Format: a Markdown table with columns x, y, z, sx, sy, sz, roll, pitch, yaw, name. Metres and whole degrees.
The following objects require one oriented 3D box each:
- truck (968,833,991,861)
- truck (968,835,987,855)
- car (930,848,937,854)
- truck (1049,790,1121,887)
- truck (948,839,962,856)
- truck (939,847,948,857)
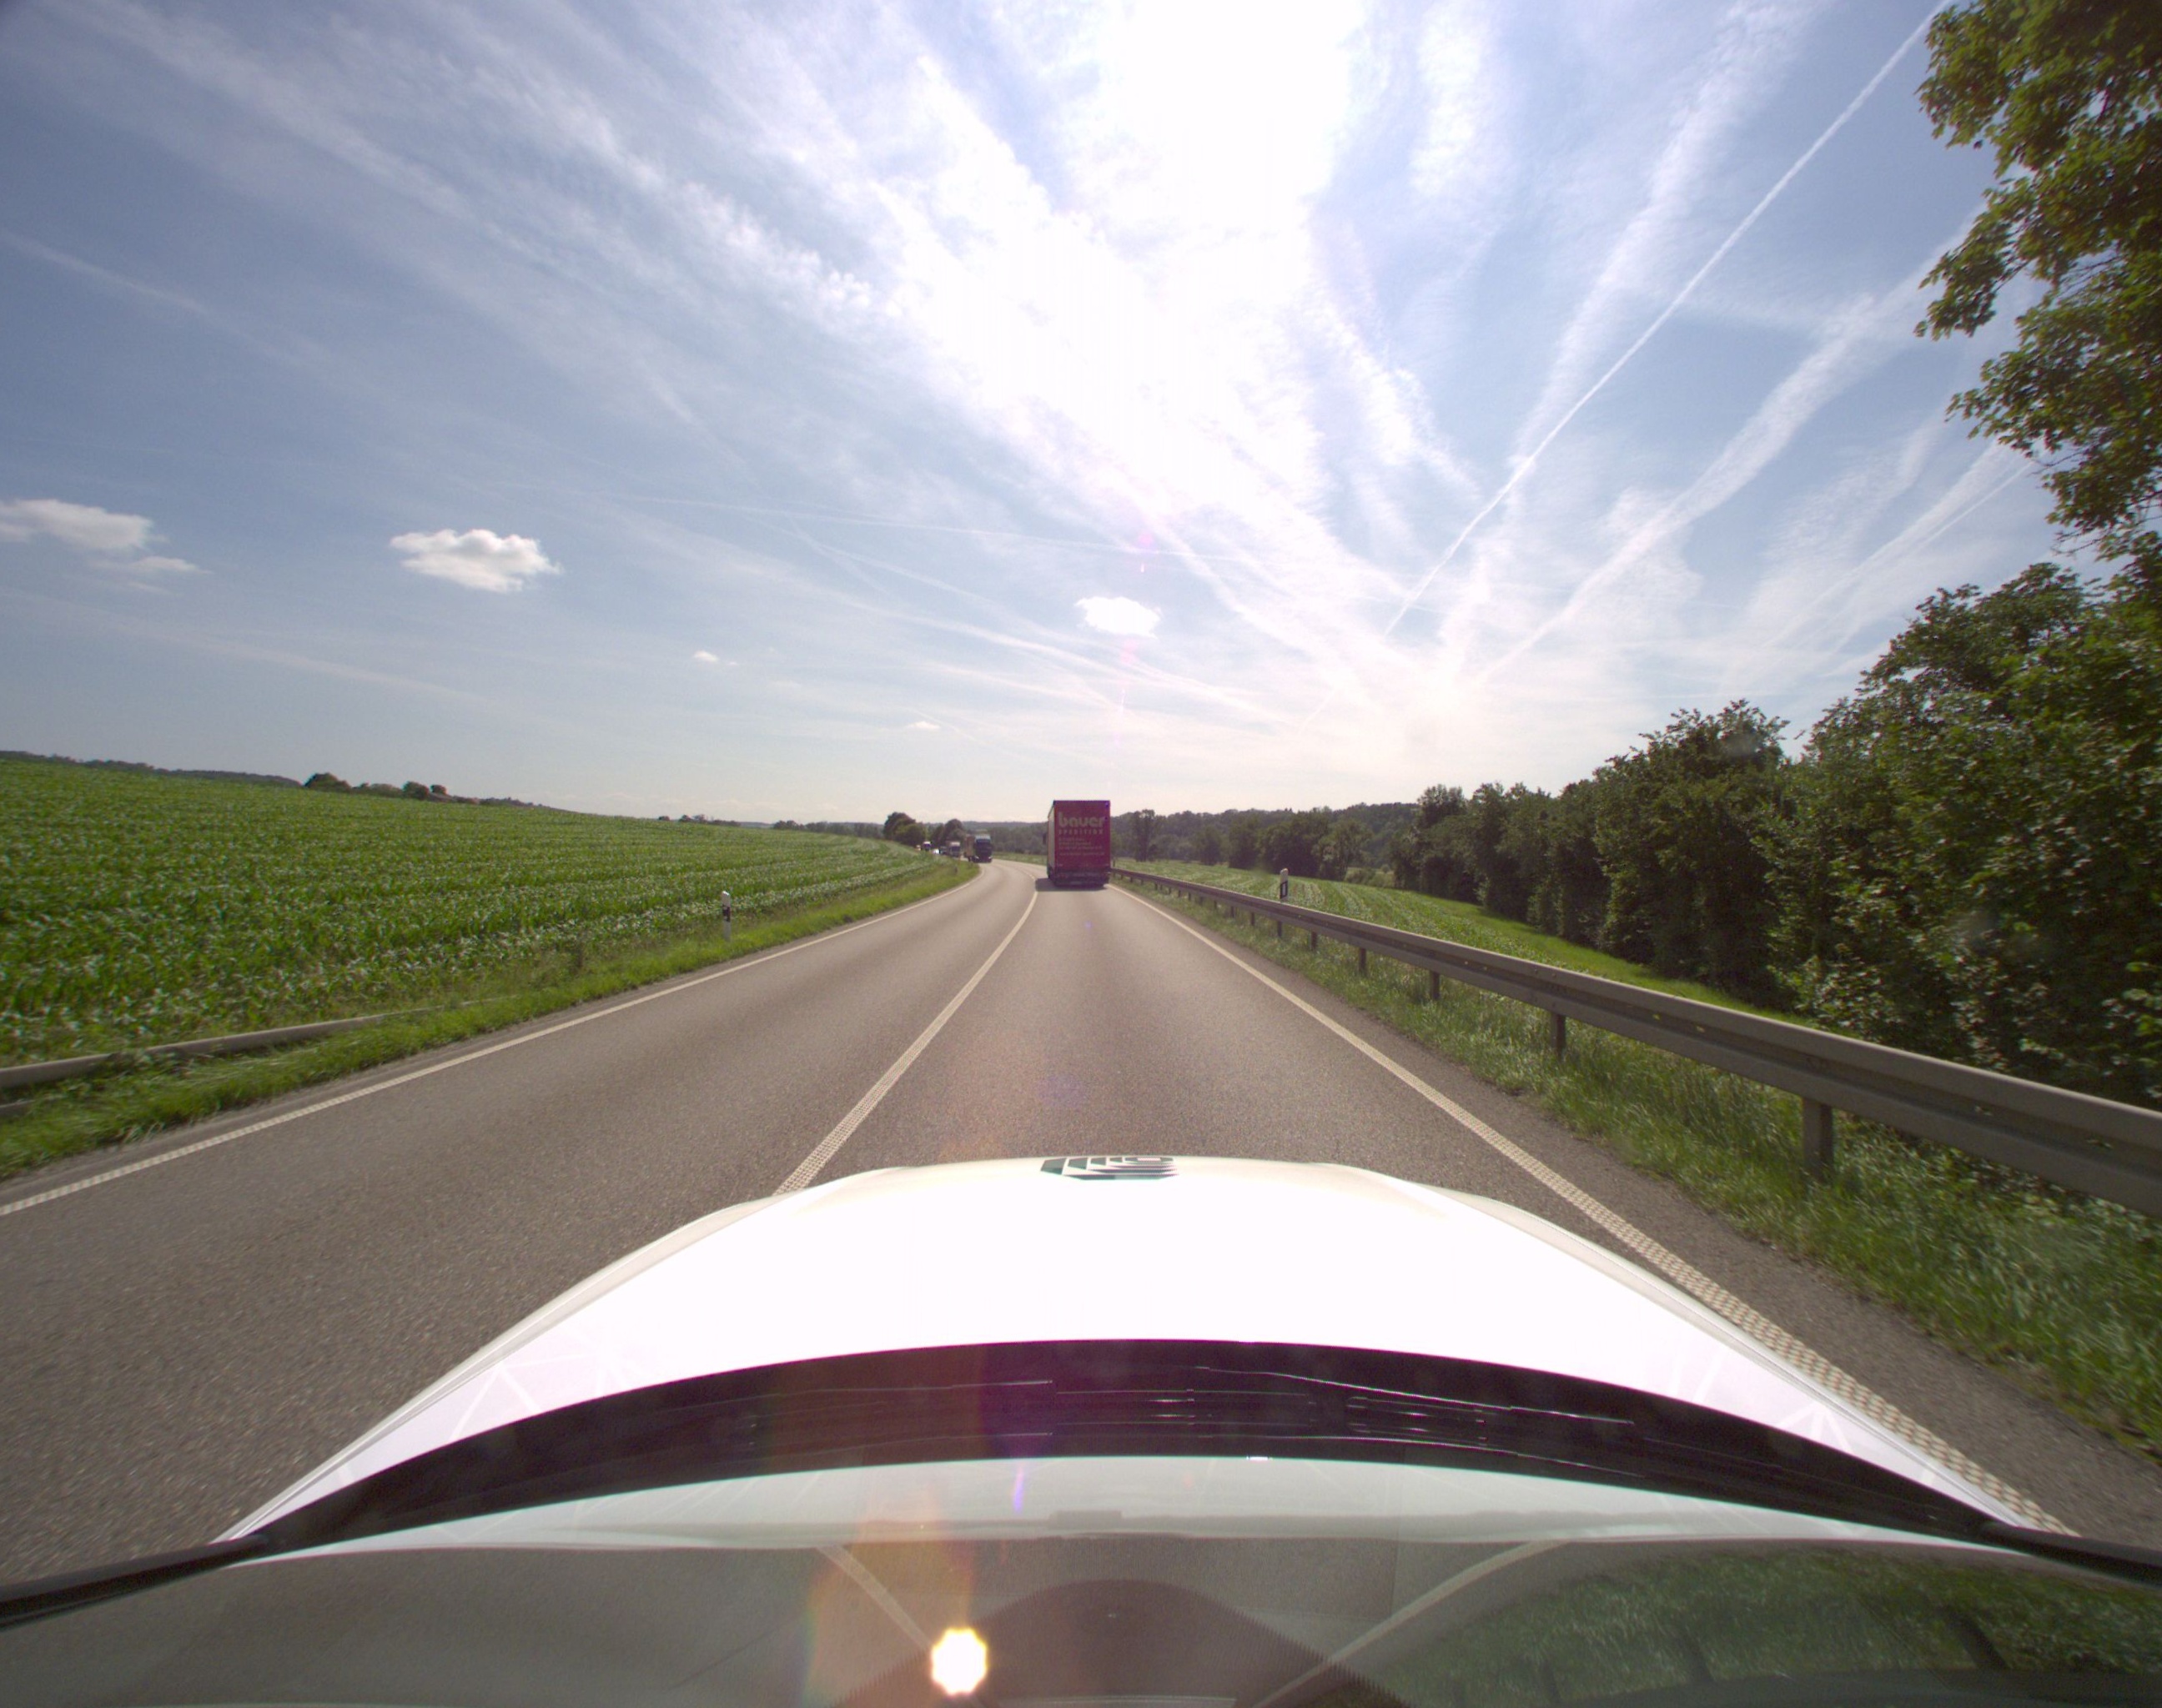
| x | y | z | sx | sy | sz | roll | pitch | yaw | name |
| --- | --- | --- | --- | --- | --- | --- | --- | --- | --- |
| -15.795 | -1.029 | 126.105 | 2.771 | 3.998 | 16.970 | 0 | 0 | -10 | truck |
| -22.964 | -1.918 | 179.959 | 3.641 | 4.292 | 11.941 | 0 | 0 | -10 | truck |
| -43.092 | -0.889 | 237.698 | 1.729 | 1.440 | 4.159 | -1 | 1 | -12 | car |
| 0.003 | -0.682 | 39.936 | 3.087 | 4.262 | 8.306 | -1 | 0 | -3 | truck |
| -27.413 | -1.325 | 176.945 | 2.741 | 3.578 | 9.694 | 0 | 0 | -10 | truck |
| -34.157 | -0.553 | 202.552 | 2.012 | 2.320 | 5.168 | 0 | 0 | -13 | truck |
